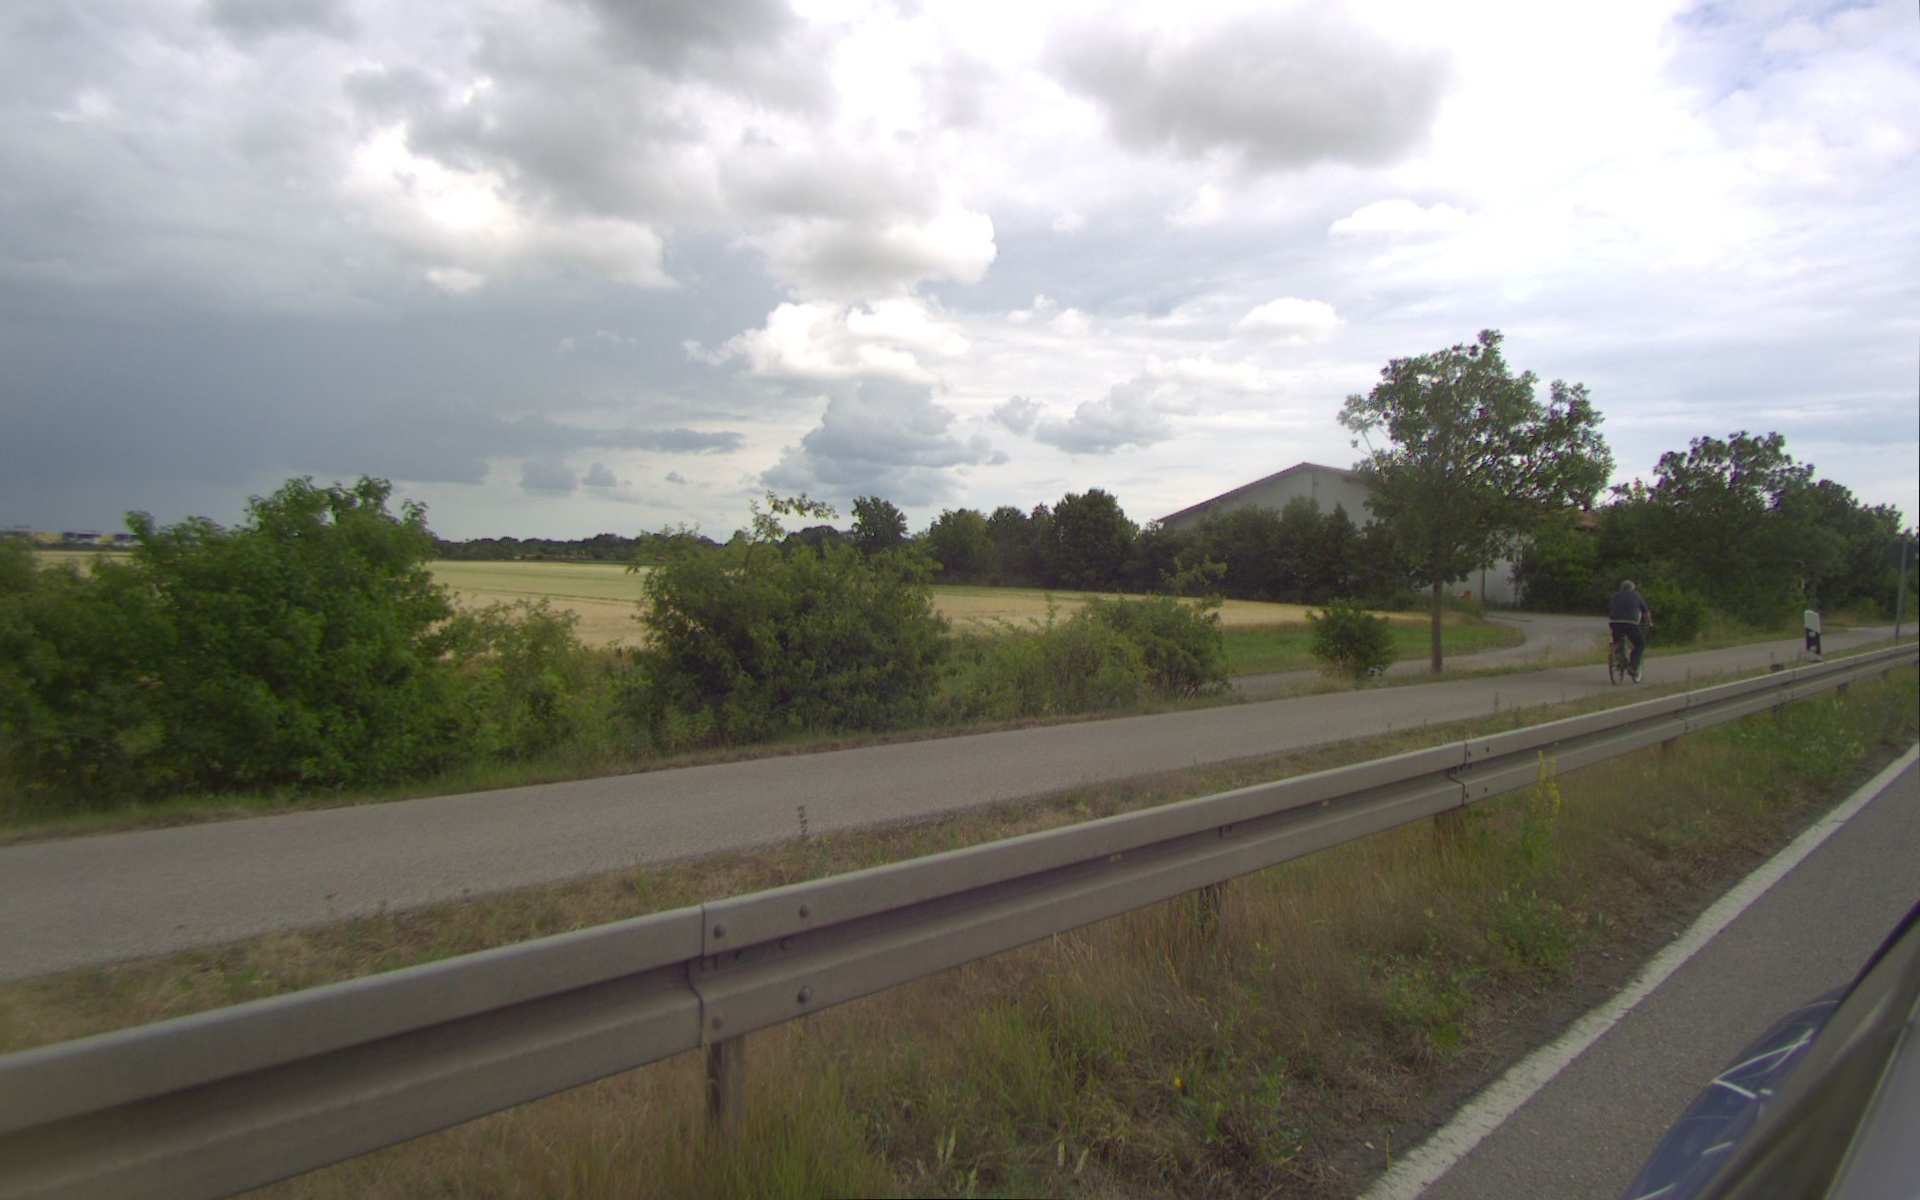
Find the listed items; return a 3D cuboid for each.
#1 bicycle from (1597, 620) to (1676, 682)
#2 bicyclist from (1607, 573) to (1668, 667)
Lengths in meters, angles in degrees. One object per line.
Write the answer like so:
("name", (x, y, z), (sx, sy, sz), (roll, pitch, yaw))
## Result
("bicycle", (12.010, 0.876, 17.942), (2.036, 0.990, 0.640), (0, 2, -41))
("bicyclist", (12.001, 0.331, 17.925), (0.952, 1.602, 0.640), (0, 1, -41))
